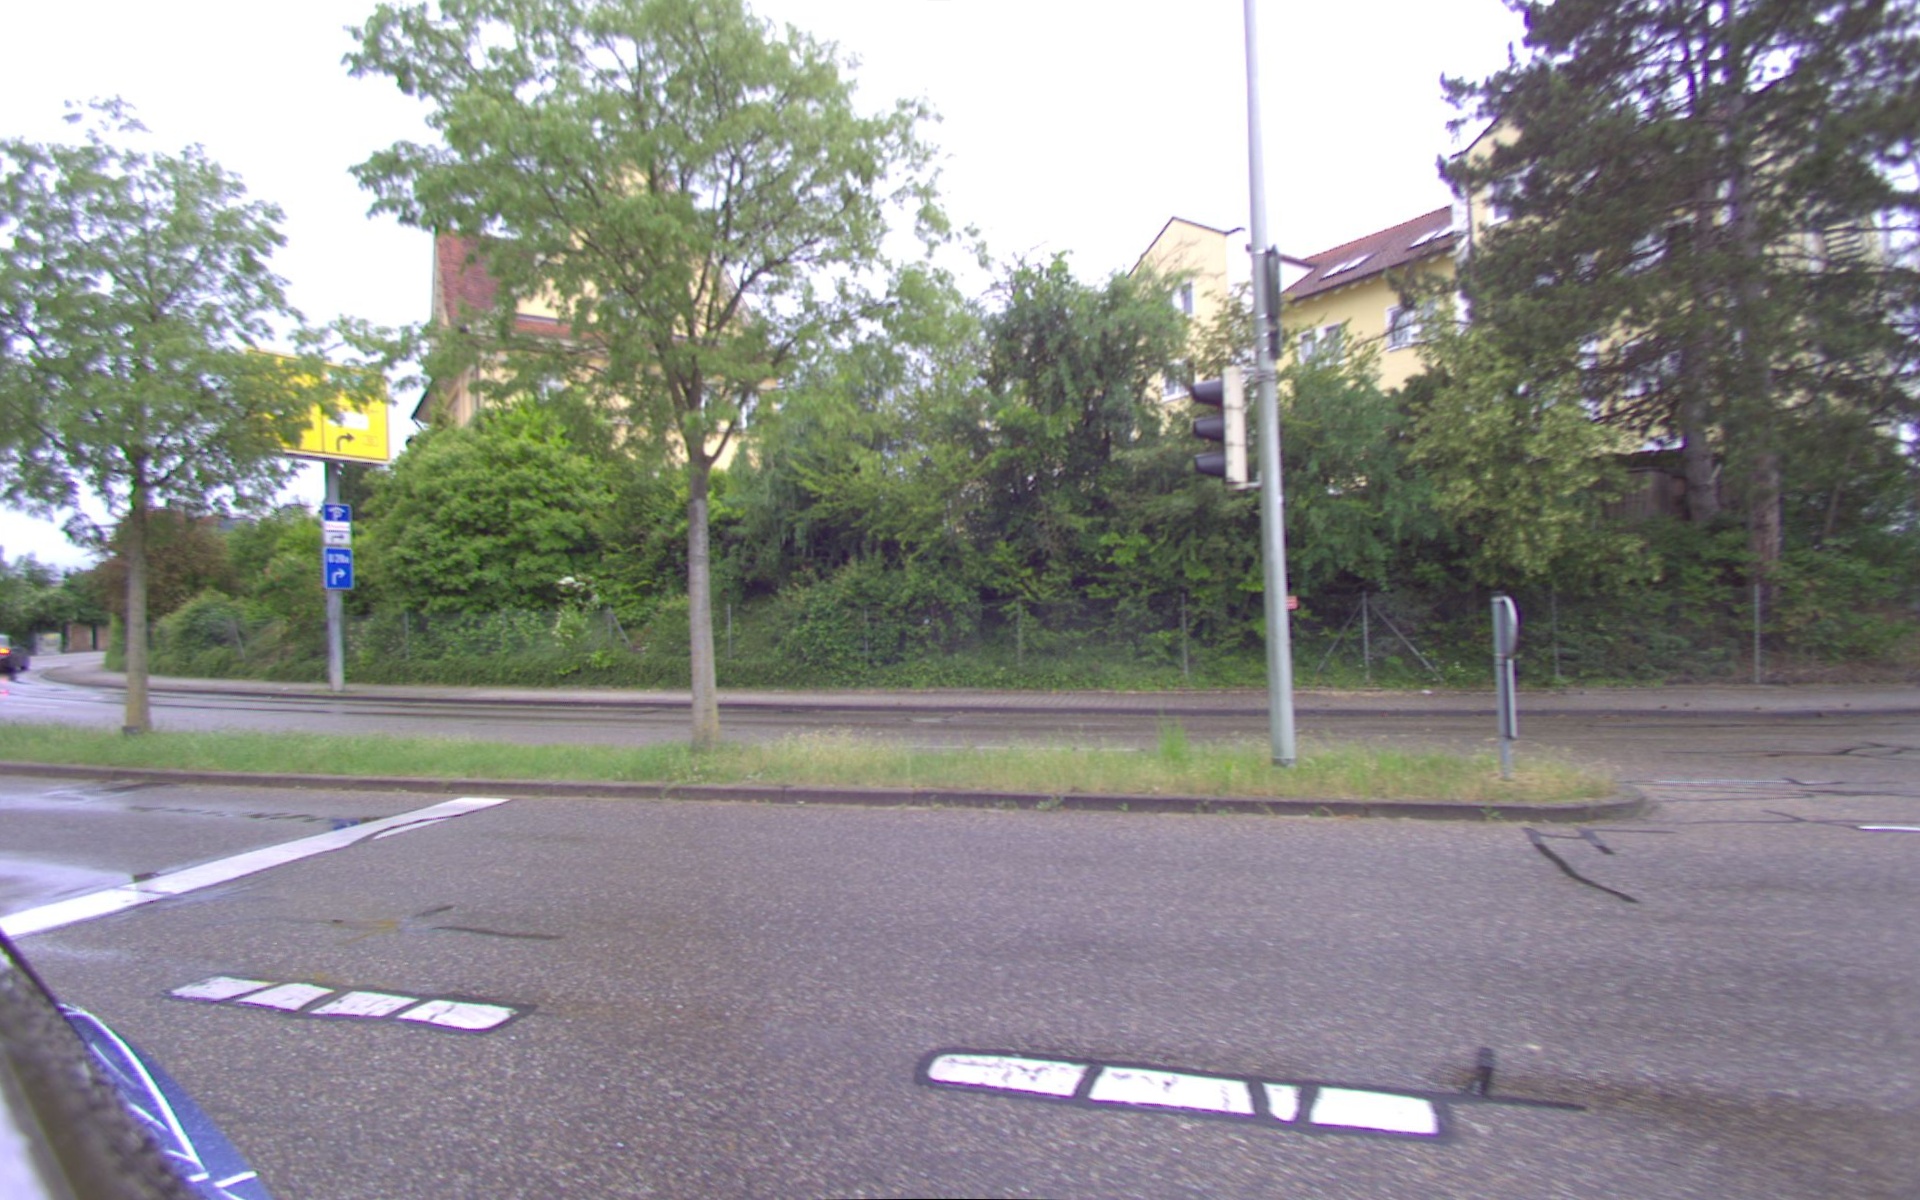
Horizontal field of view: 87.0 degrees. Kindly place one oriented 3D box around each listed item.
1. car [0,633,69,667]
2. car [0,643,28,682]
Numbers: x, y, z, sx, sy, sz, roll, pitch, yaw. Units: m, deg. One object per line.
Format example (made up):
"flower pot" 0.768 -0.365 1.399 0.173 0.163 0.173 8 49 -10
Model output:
"car" -52.907 2.875 56.978 3.868 1.634 1.849 -5 0 -36
"car" -37.247 2.396 38.537 1.967 1.449 4.559 1 -3 -35
